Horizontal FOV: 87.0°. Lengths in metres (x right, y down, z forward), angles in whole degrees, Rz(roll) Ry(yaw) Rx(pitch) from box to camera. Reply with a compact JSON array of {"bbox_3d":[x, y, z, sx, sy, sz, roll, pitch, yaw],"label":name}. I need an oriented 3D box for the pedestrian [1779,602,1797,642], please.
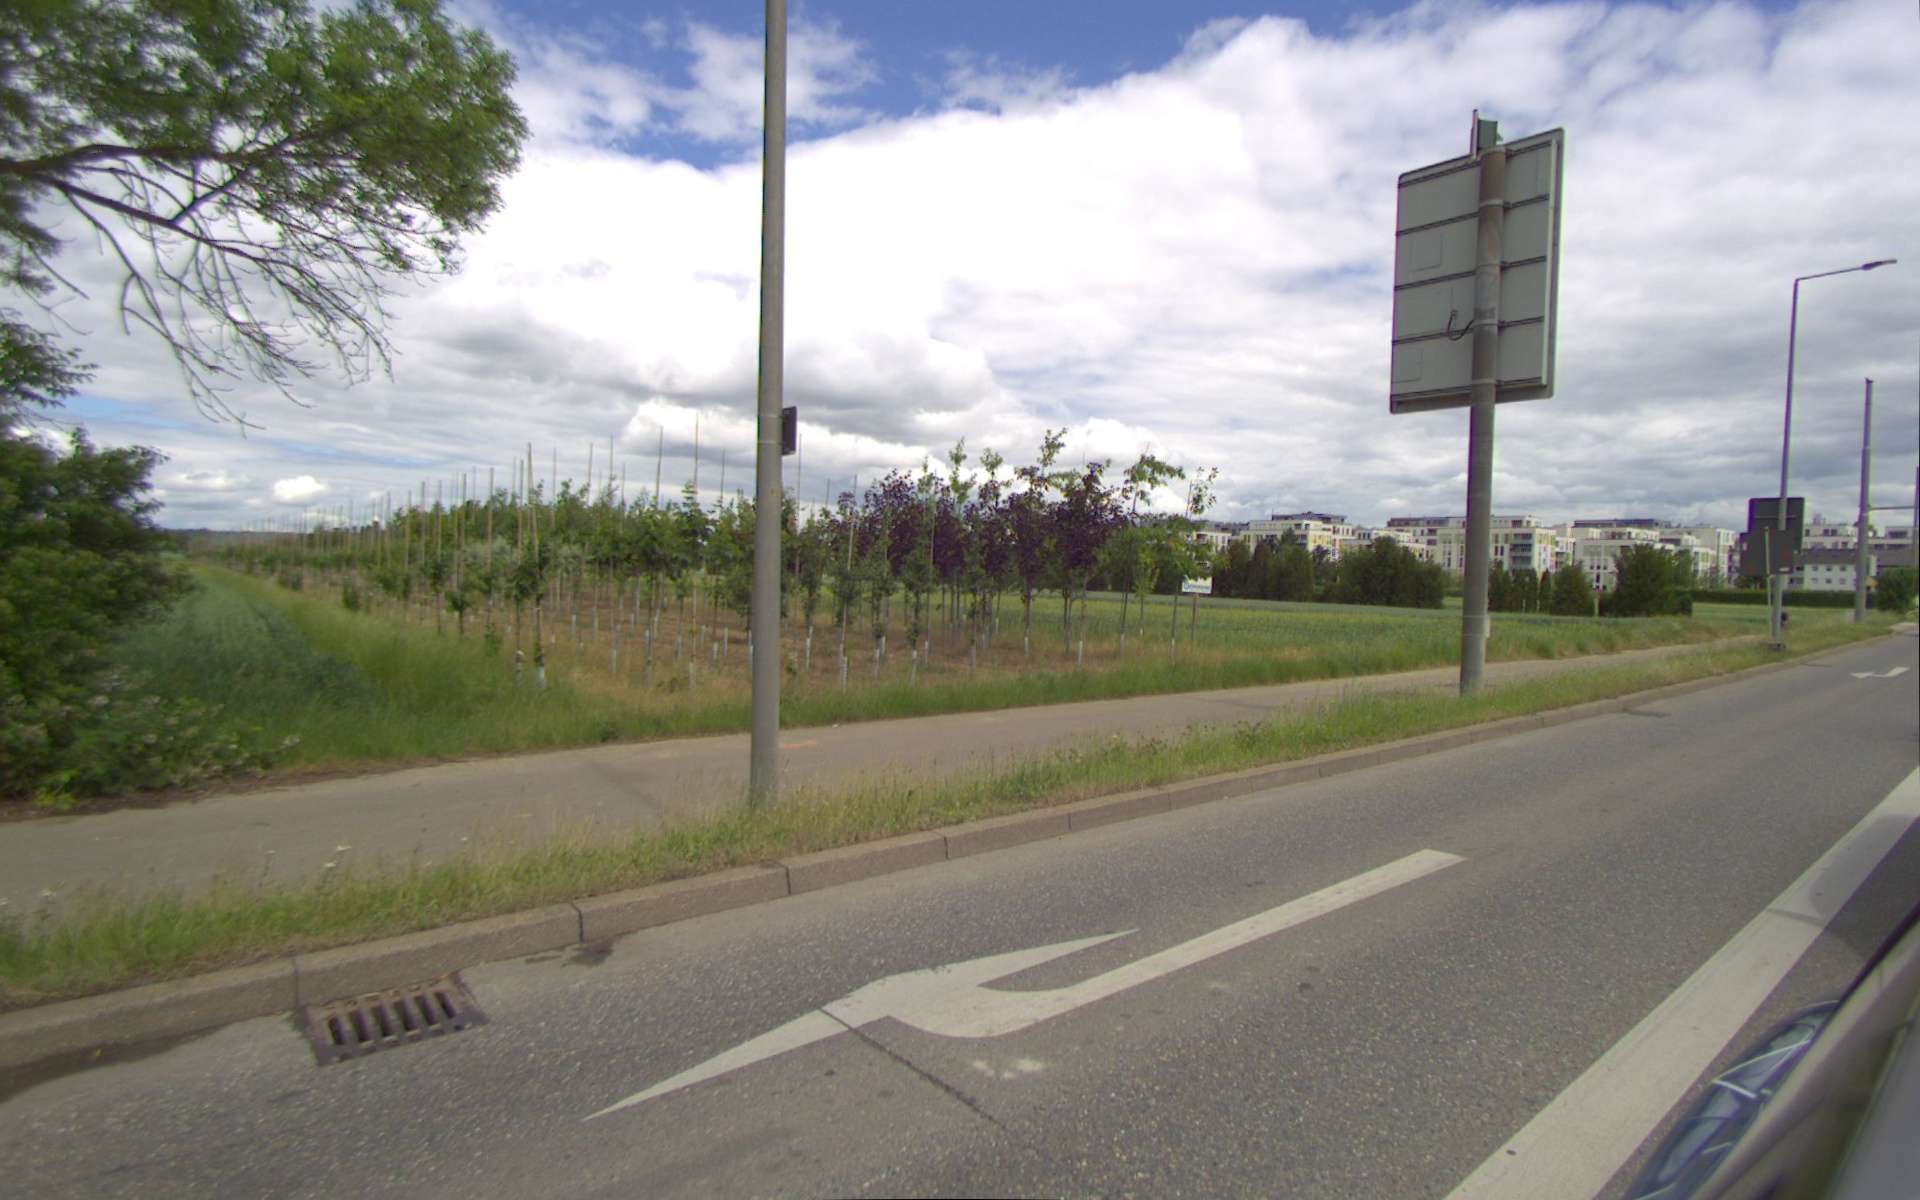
[{"bbox_3d":[35.585,0.933,43.498,0.615,1.724,0.492,0,0,-42],"label":"pedestrian"}]
